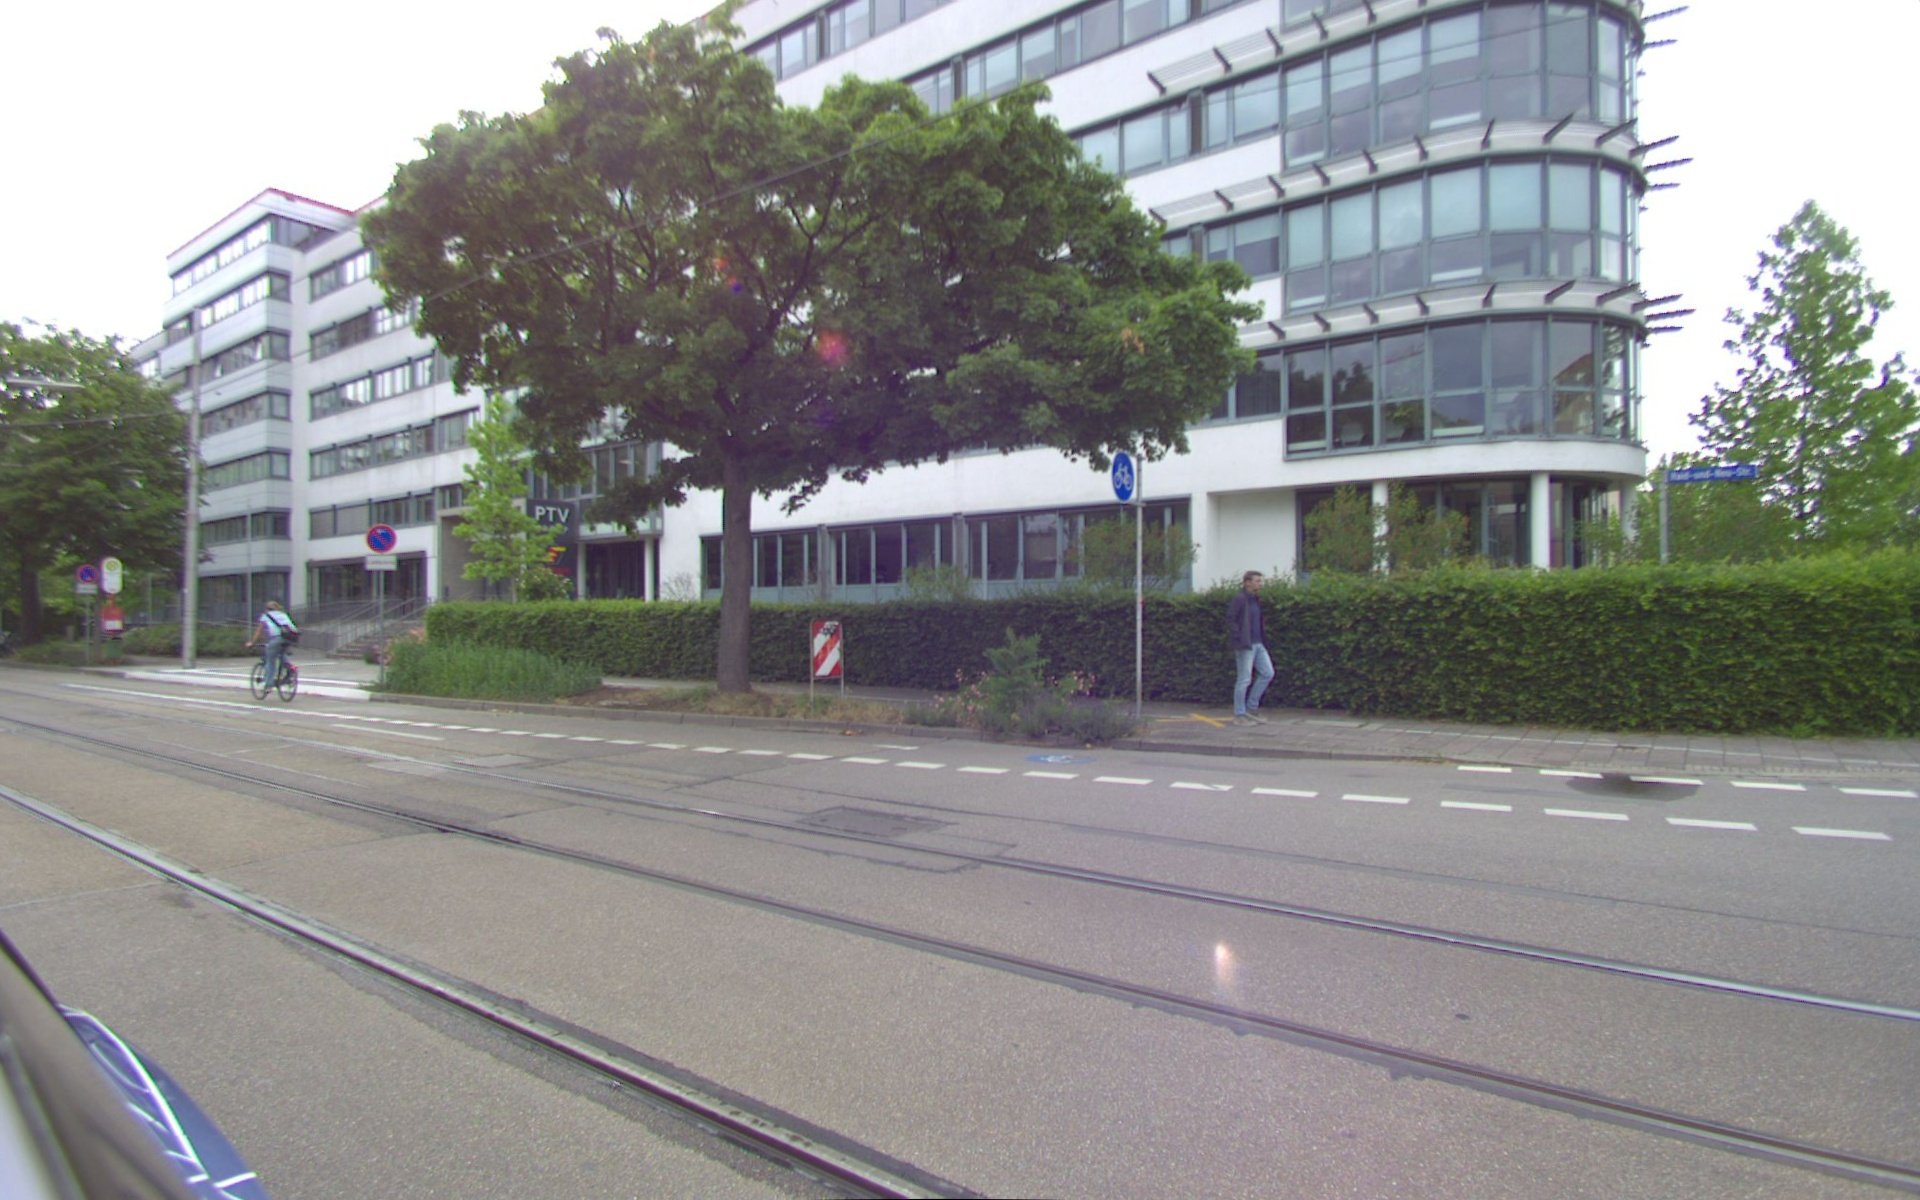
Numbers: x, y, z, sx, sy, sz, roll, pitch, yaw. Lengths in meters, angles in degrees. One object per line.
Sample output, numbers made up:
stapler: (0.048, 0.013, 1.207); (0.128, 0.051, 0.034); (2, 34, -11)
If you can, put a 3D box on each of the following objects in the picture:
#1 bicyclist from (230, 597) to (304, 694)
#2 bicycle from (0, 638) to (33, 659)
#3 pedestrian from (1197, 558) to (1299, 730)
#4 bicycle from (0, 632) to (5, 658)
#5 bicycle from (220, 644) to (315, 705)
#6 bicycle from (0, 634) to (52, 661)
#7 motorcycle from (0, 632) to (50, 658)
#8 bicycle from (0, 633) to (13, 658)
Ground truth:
bicyclist: (-12.938, 0.841, 18.913); (0.974, 1.762, 0.731); (-1, -2, 27)
bicycle: (-41.886, 2.113, 44.334); (0.630, 0.906, 1.793); (0, -2, 30)
pedestrian: (3.560, 0.518, 12.530); (0.991, 2.029, 0.702); (-1, 0, 44)
bicycle: (-44.912, 2.040, 46.211); (0.632, 1.195, 1.845); (-1, -3, 41)
bicycle: (-12.941, 1.369, 18.895); (1.947, 1.082, 0.583); (-1, -2, 27)
bicycle: (-38.902, 1.970, 41.910); (0.738, 1.061, 1.817); (-2, -1, 28)
motorcycle: (-40.543, 1.934, 43.642); (0.730, 1.058, 1.776); (-1, 0, 29)
bicycle: (-43.941, 2.061, 45.573); (0.630, 1.108, 1.793); (0, -2, 30)
